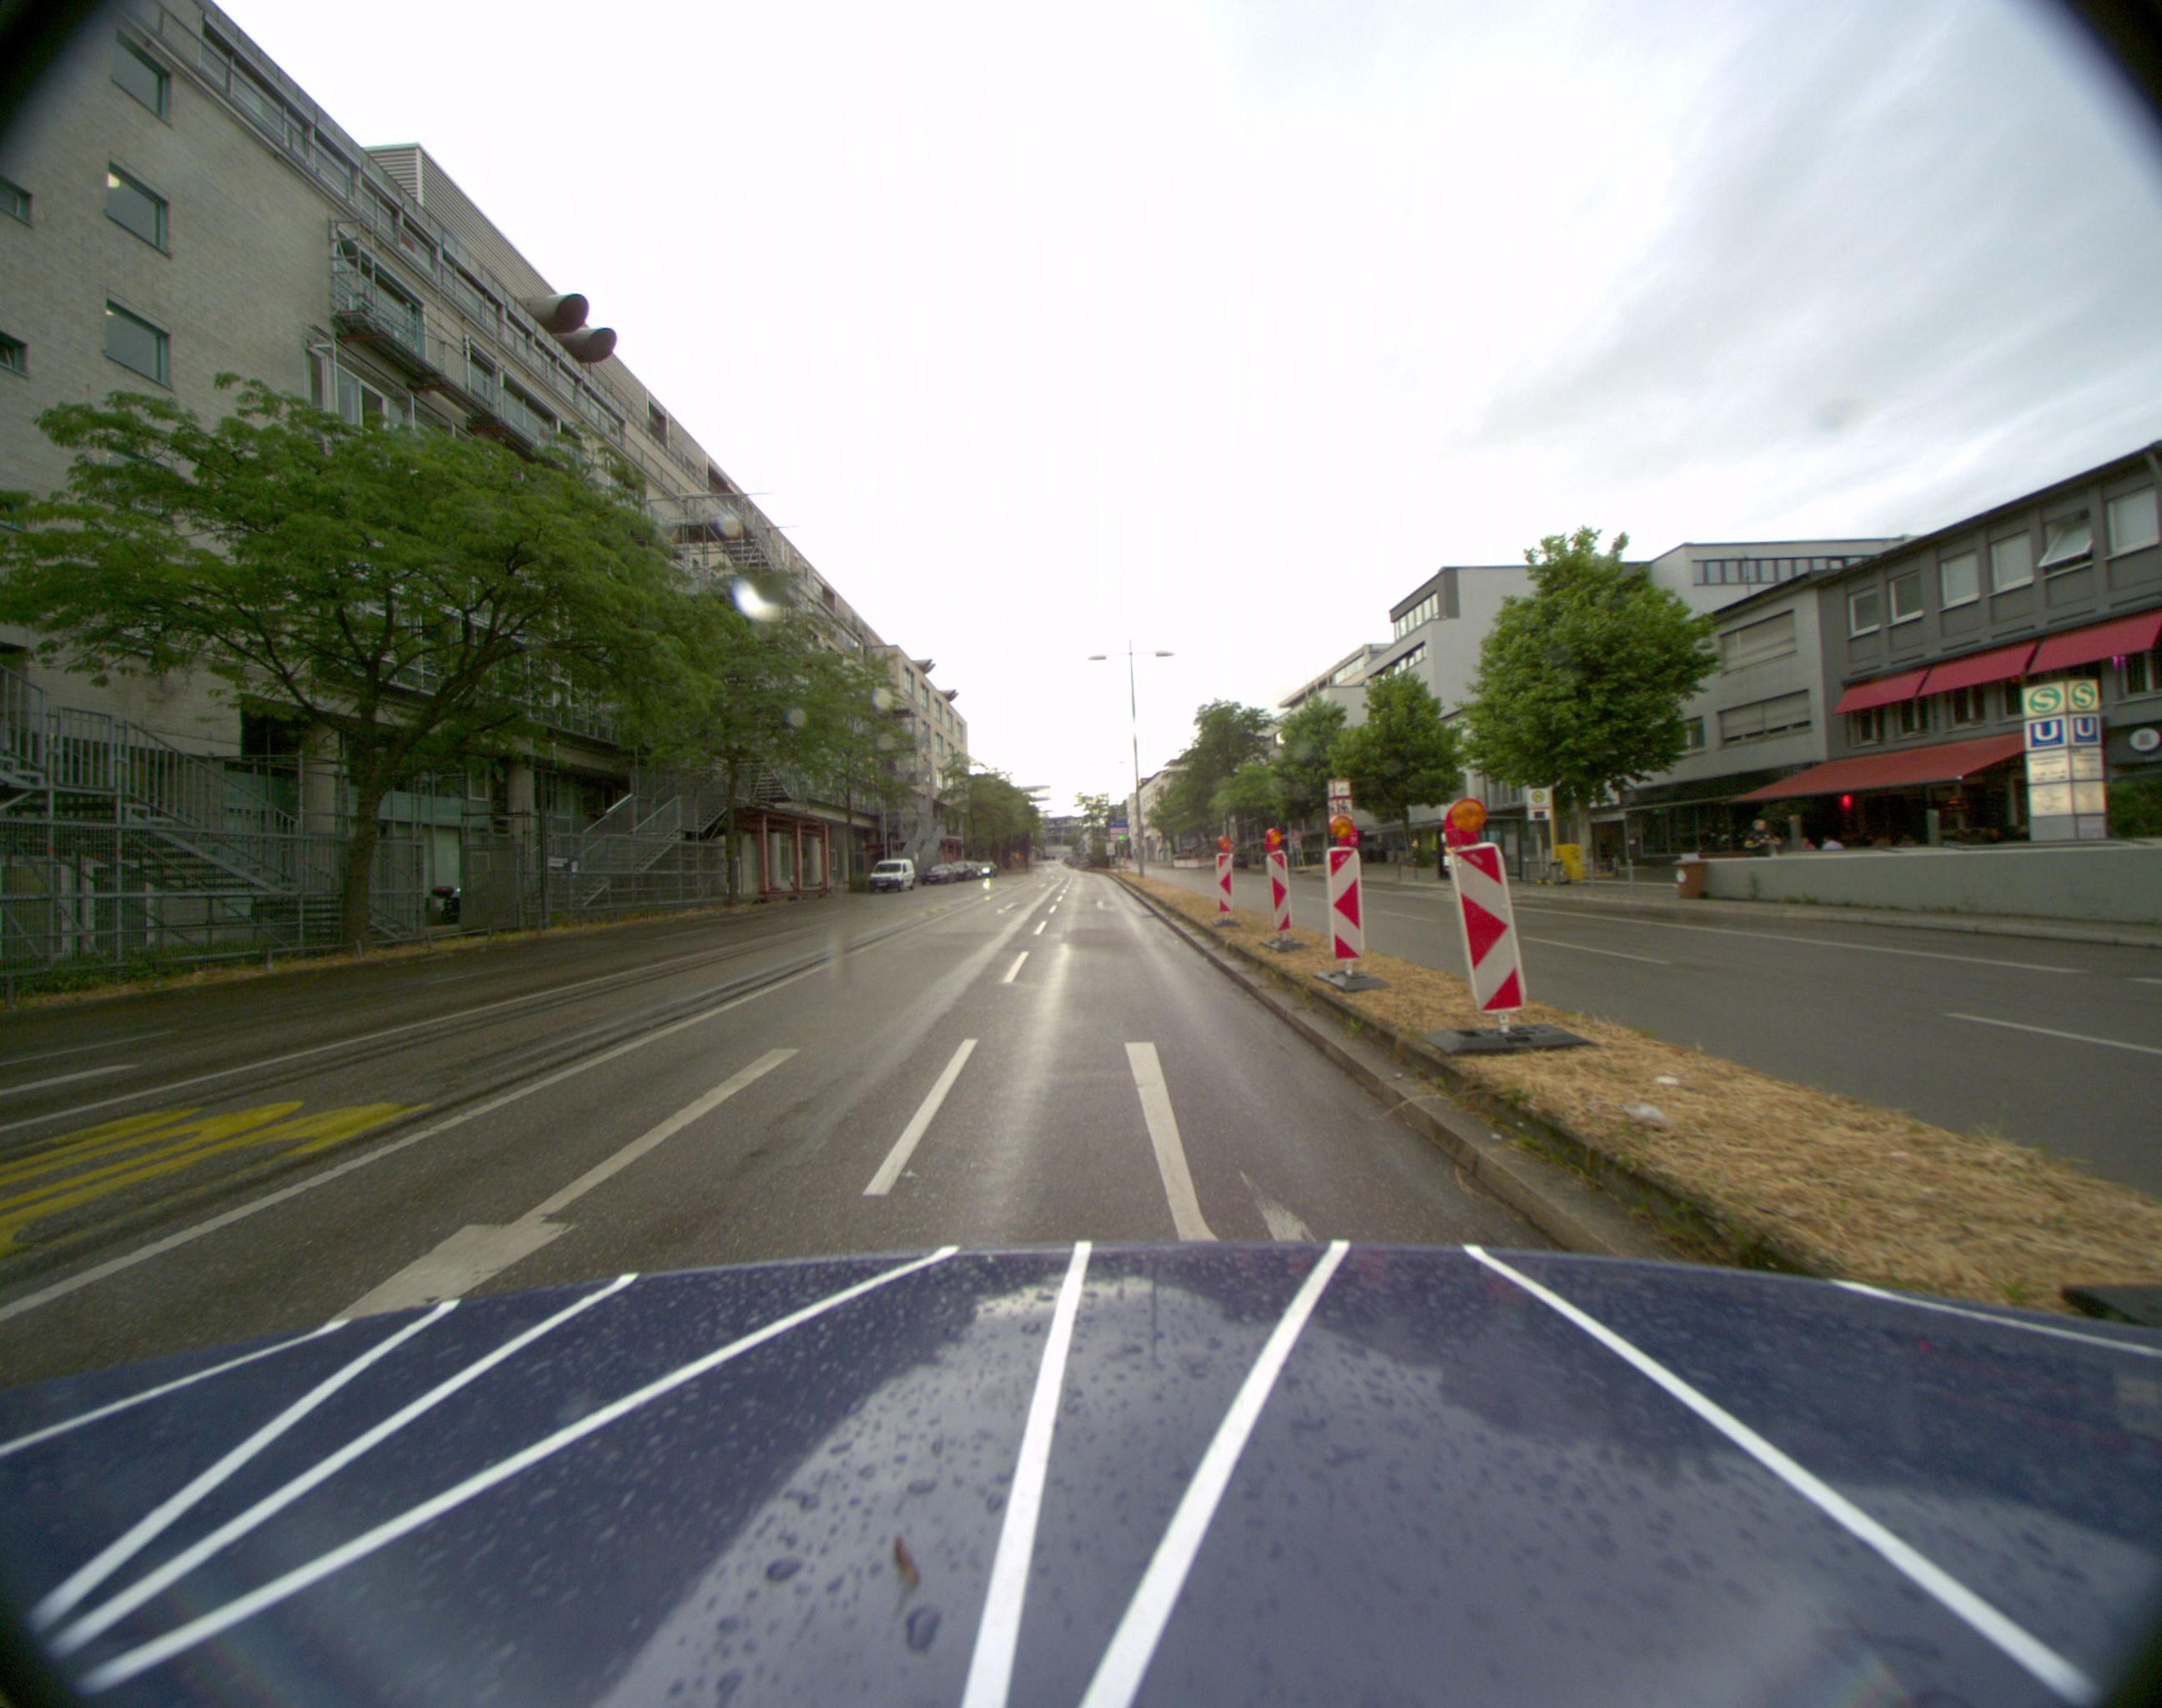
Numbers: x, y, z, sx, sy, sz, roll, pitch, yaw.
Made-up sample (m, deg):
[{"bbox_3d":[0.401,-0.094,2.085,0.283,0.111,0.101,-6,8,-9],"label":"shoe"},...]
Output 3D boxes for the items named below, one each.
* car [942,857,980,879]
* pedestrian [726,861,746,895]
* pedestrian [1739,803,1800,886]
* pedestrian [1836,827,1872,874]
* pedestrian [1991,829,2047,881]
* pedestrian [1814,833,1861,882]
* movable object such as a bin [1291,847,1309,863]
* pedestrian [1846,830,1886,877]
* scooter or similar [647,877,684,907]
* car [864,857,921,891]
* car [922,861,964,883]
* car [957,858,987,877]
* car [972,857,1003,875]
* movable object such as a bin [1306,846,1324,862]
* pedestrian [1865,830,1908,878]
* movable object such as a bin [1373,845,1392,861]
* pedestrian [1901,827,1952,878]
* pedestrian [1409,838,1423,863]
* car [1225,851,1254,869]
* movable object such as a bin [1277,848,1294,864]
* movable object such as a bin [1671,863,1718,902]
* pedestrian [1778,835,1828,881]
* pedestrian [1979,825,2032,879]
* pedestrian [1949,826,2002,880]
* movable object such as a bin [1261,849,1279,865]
[{"bbox_3d":[-9.580,1.122,60.979,1.998,1.636,4.863,-2,0,3],"label":"car"},{"bbox_3d":[-18.046,1.228,39.744,0.677,1.732,0.653,-1,1,3],"label":"pedestrian"},{"bbox_3d":[16.058,-0.208,17.736,0.691,1.874,0.758,-2,0,-4],"label":"pedestrian"},{"bbox_3d":[26.124,-0.104,25.695,0.598,1.561,0.604,-2,1,-9],"label":"pedestrian"},{"bbox_3d":[24.921,0.015,20.191,0.635,1.336,0.691,-2,0,-6],"label":"pedestrian"},{"bbox_3d":[23.184,0.111,23.296,0.691,1.442,0.707,-2,0,-4],"label":"pedestrian"},{"bbox_3d":[20.321,0.102,70.563,1.281,1.418,1.088,-2,0,1],"label":"movable object such as a bin"},{"bbox_3d":[24.908,-0.005,24.117,0.691,1.442,0.547,-2,0,-4],"label":"pedestrian"},{"bbox_3d":[-17.176,1.549,31.471,0.633,1.155,1.547,-2,0,1],"label":"scooter or similar"},{"bbox_3d":[-10.444,1.084,42.440,1.998,1.739,4.527,-2,0,1],"label":"car"},{"bbox_3d":[-9.770,1.261,54.186,1.873,1.429,4.922,-2,0,3],"label":"car"},{"bbox_3d":[-9.434,1.149,66.354,1.866,1.591,4.593,-2,0,1],"label":"car"},{"bbox_3d":[-8.840,1.151,72.273,1.998,1.591,5.291,-2,0,4],"label":"car"},{"bbox_3d":[21.715,-0.013,70.554,1.281,1.479,1.088,-2,0,1],"label":"movable object such as a bin"},{"bbox_3d":[24.877,-0.003,23.474,0.691,1.442,0.583,-2,0,-2],"label":"pedestrian"},{"bbox_3d":[27.254,-0.070,68.654,1.088,1.427,1.281,-2,0,-9],"label":"movable object such as a bin"},{"bbox_3d":[24.950,-0.041,22.428,0.728,1.442,0.691,-2,0,-6],"label":"pedestrian"},{"bbox_3d":[24.071,-0.227,54.618,0.698,1.753,0.653,-1,1,3],"label":"pedestrian"},{"bbox_3d":[15.411,0.591,74.114,1.783,1.626,4.024,-2,-1,-2],"label":"car"},{"bbox_3d":[18.969,0.224,70.537,1.281,1.418,1.088,-2,0,1],"label":"movable object such as a bin"},{"bbox_3d":[14.519,0.664,17.984,0.533,0.892,0.682,0,0,-9],"label":"movable object such as a bin"},{"bbox_3d":[23.112,0.130,24.330,0.691,1.442,0.914,-2,0,-3],"label":"pedestrian"},{"bbox_3d":[25.677,-0.058,21.111,0.635,1.442,0.691,-2,0,-6],"label":"pedestrian"},{"bbox_3d":[24.776,-0.034,21.051,0.635,1.442,0.691,-2,0,-6],"label":"pedestrian"},{"bbox_3d":[17.529,0.260,70.536,1.362,1.418,1.088,-2,0,1],"label":"movable object such as a bin"}]
